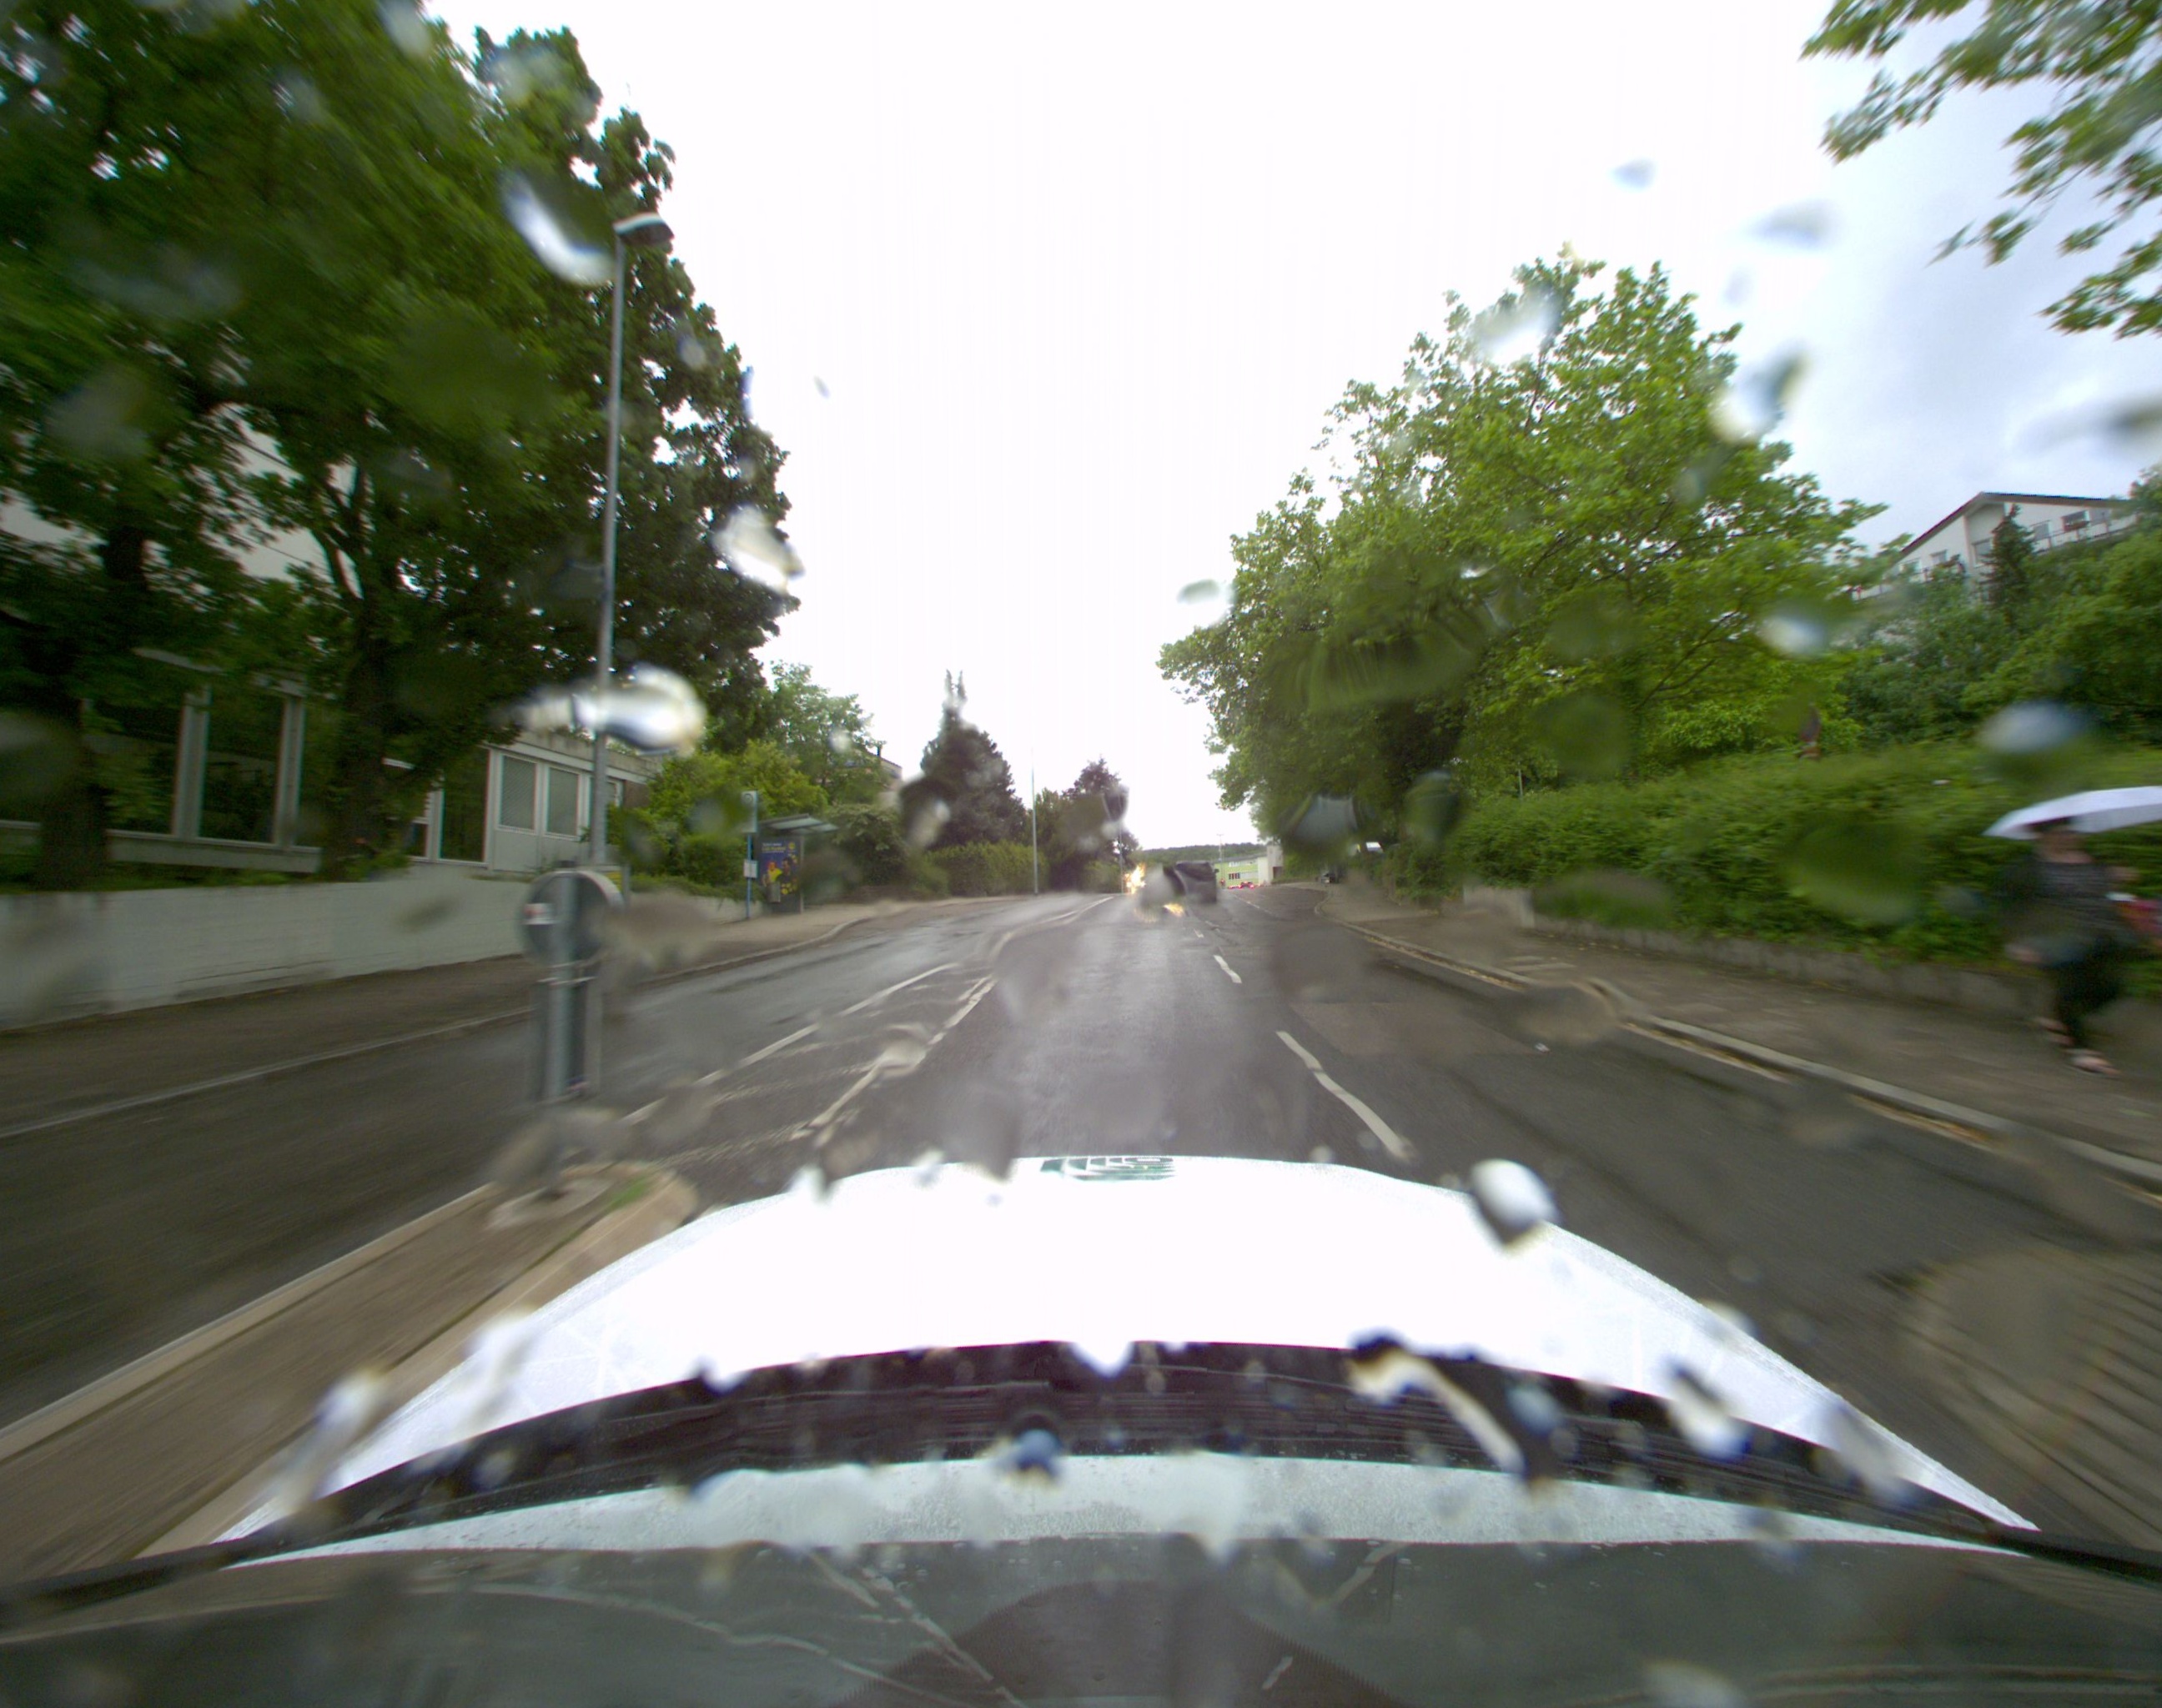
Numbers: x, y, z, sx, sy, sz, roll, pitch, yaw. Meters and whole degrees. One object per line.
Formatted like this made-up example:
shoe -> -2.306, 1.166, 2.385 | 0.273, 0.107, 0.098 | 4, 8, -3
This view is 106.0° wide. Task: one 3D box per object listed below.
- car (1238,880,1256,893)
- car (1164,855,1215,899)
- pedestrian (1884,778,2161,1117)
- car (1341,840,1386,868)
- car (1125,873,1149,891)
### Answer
car -> 19.767, 3.893, 96.875 | 1.981, 1.442, 4.011 | -1, -2, 11
car -> 4.204, 0.860, 32.123 | 1.781, 1.603, 4.259 | -1, -1, 5
pedestrian -> 6.259, 0.536, 5.189 | 1.049, 1.894, 1.132 | -1, -3, -3
car -> 23.751, 0.003, 68.656 | 2.037, 2.284, 5.018 | -1, -1, 1
car -> 4.937, 2.461, 71.295 | 1.675, 1.454, 3.407 | -2, -1, 10
